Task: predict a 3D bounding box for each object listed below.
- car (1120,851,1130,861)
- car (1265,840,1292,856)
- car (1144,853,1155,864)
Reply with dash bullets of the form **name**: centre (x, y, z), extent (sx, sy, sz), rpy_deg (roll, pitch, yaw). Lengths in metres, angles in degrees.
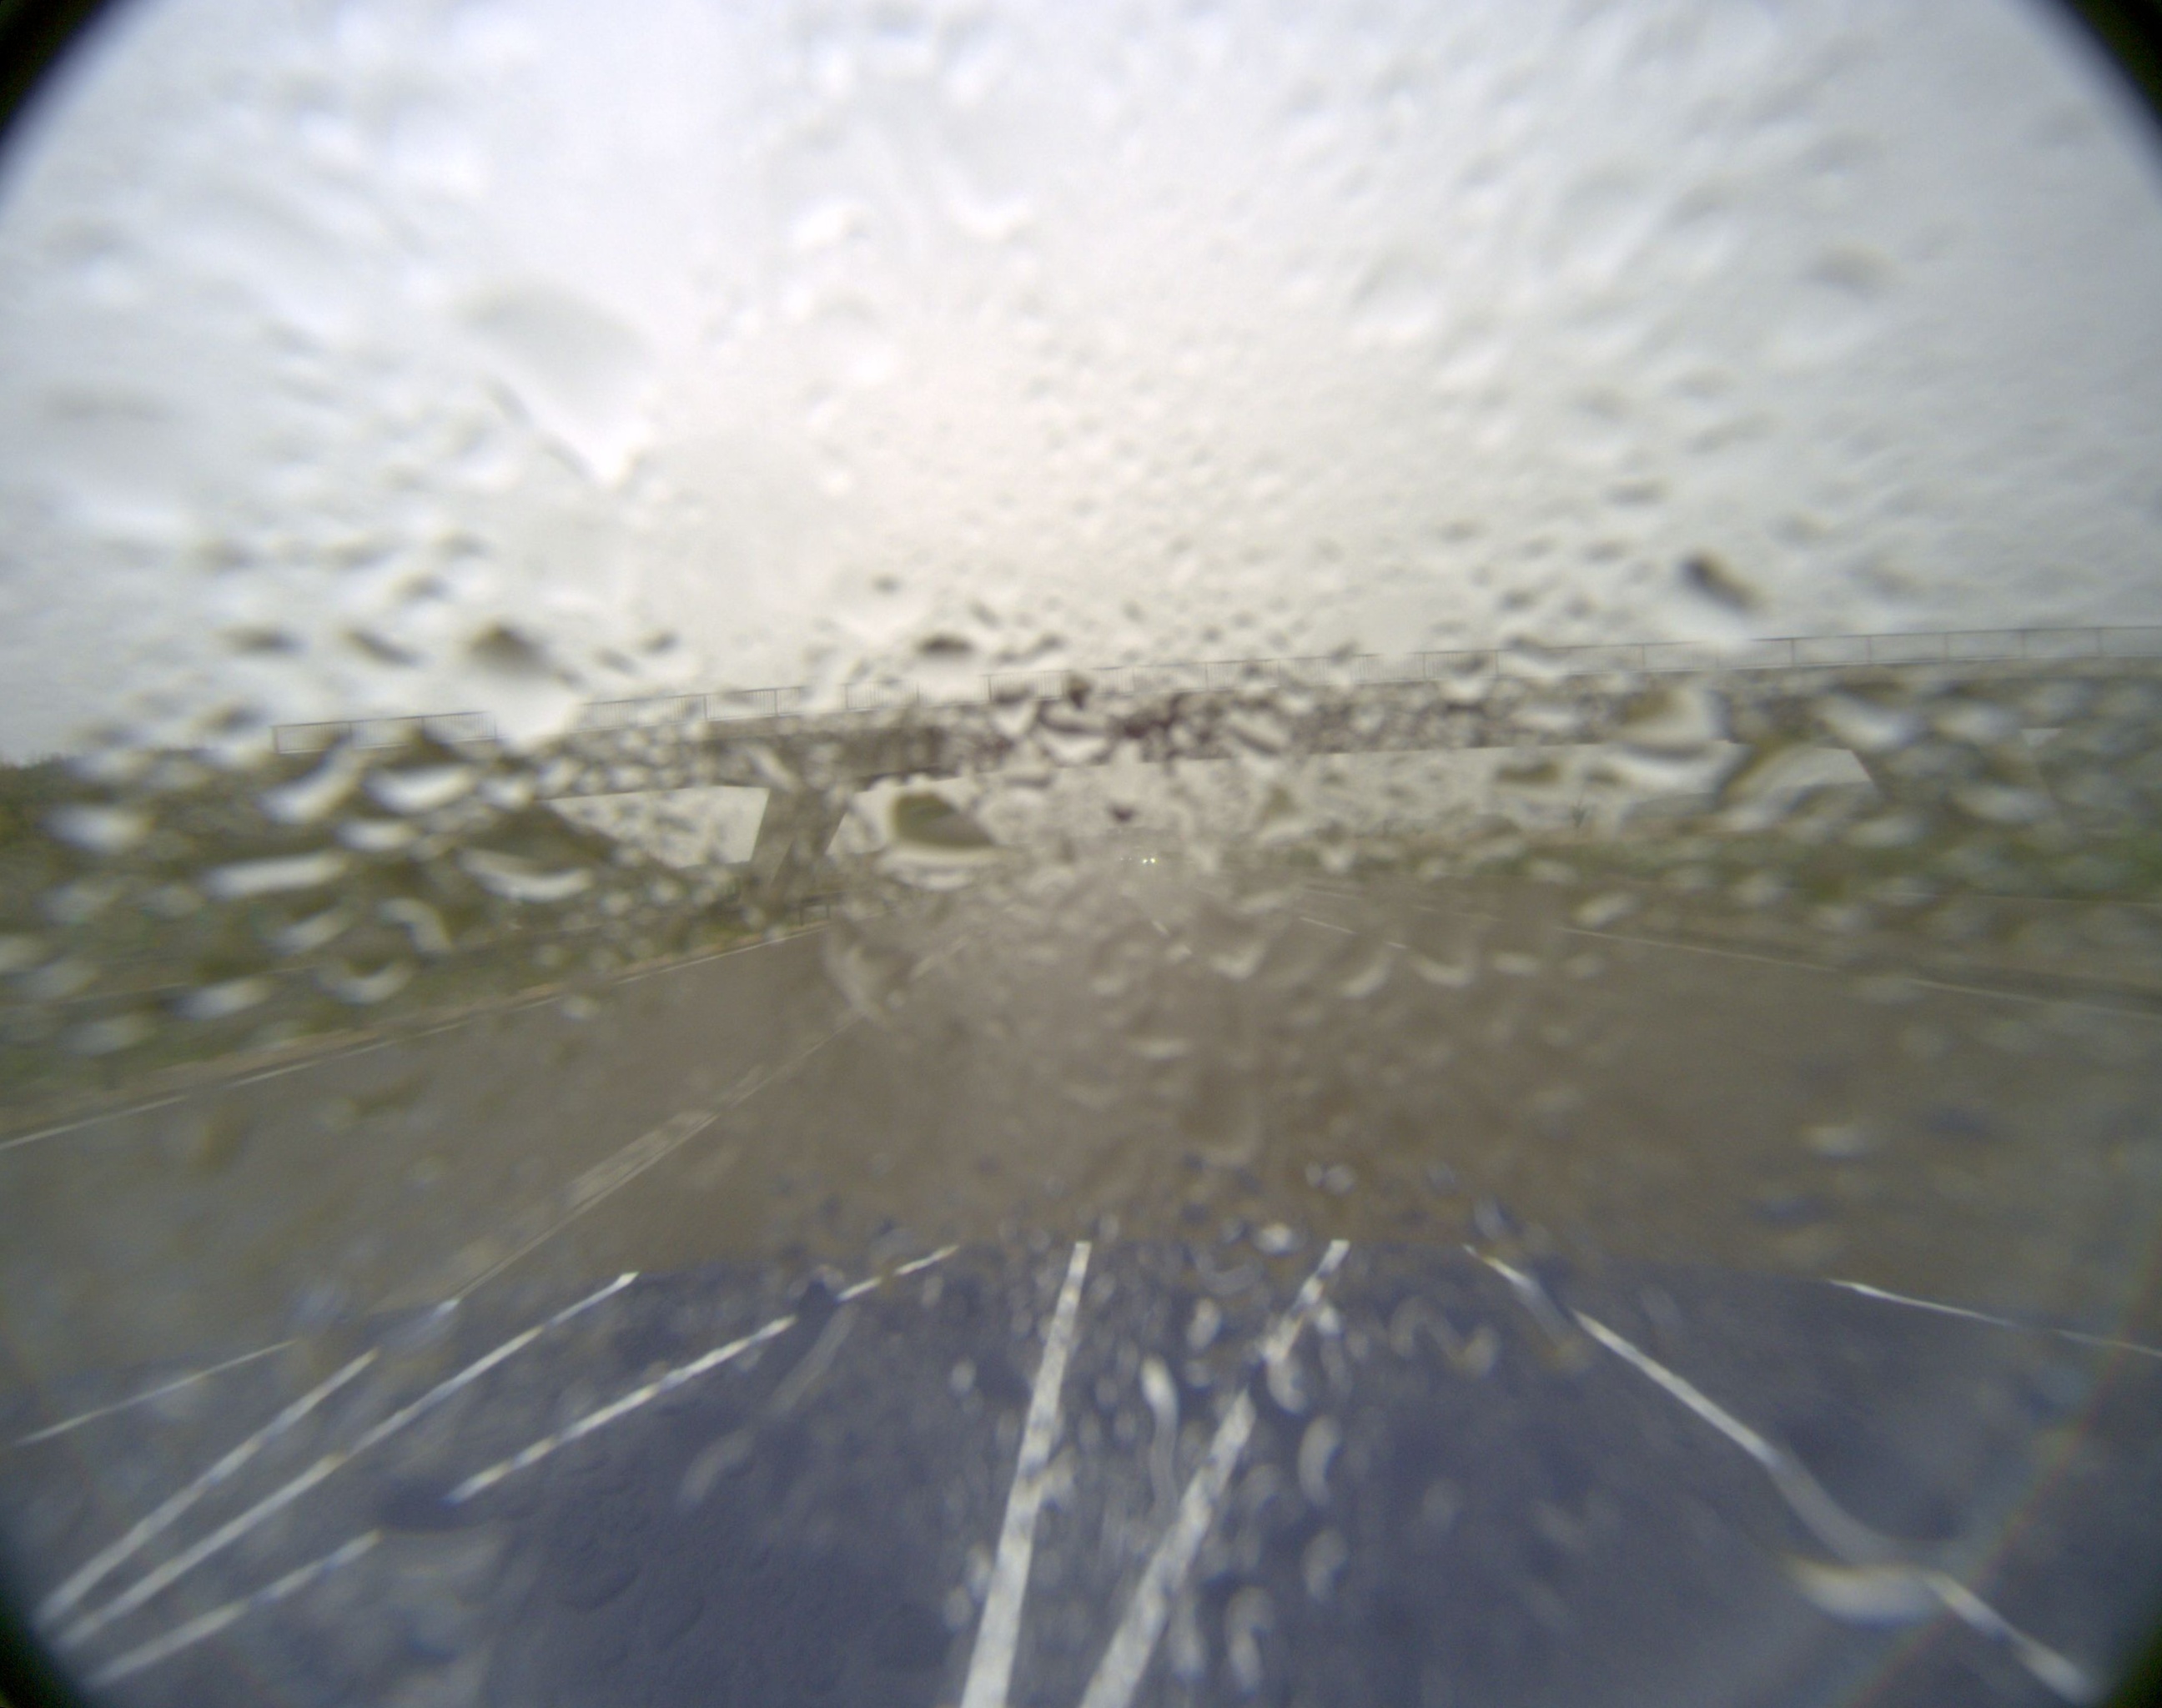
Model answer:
- **car**: centre (7.784, 0.366, 135.058), extent (1.700, 1.543, 3.733), rpy_deg (-2, 1, 2)
- **car**: centre (20.305, -0.617, 78.314), extent (1.649, 1.543, 4.146), rpy_deg (-2, 1, 1)
- **car**: centre (10.398, 0.662, 115.329), extent (1.700, 1.543, 3.734), rpy_deg (-2, 1, 5)
